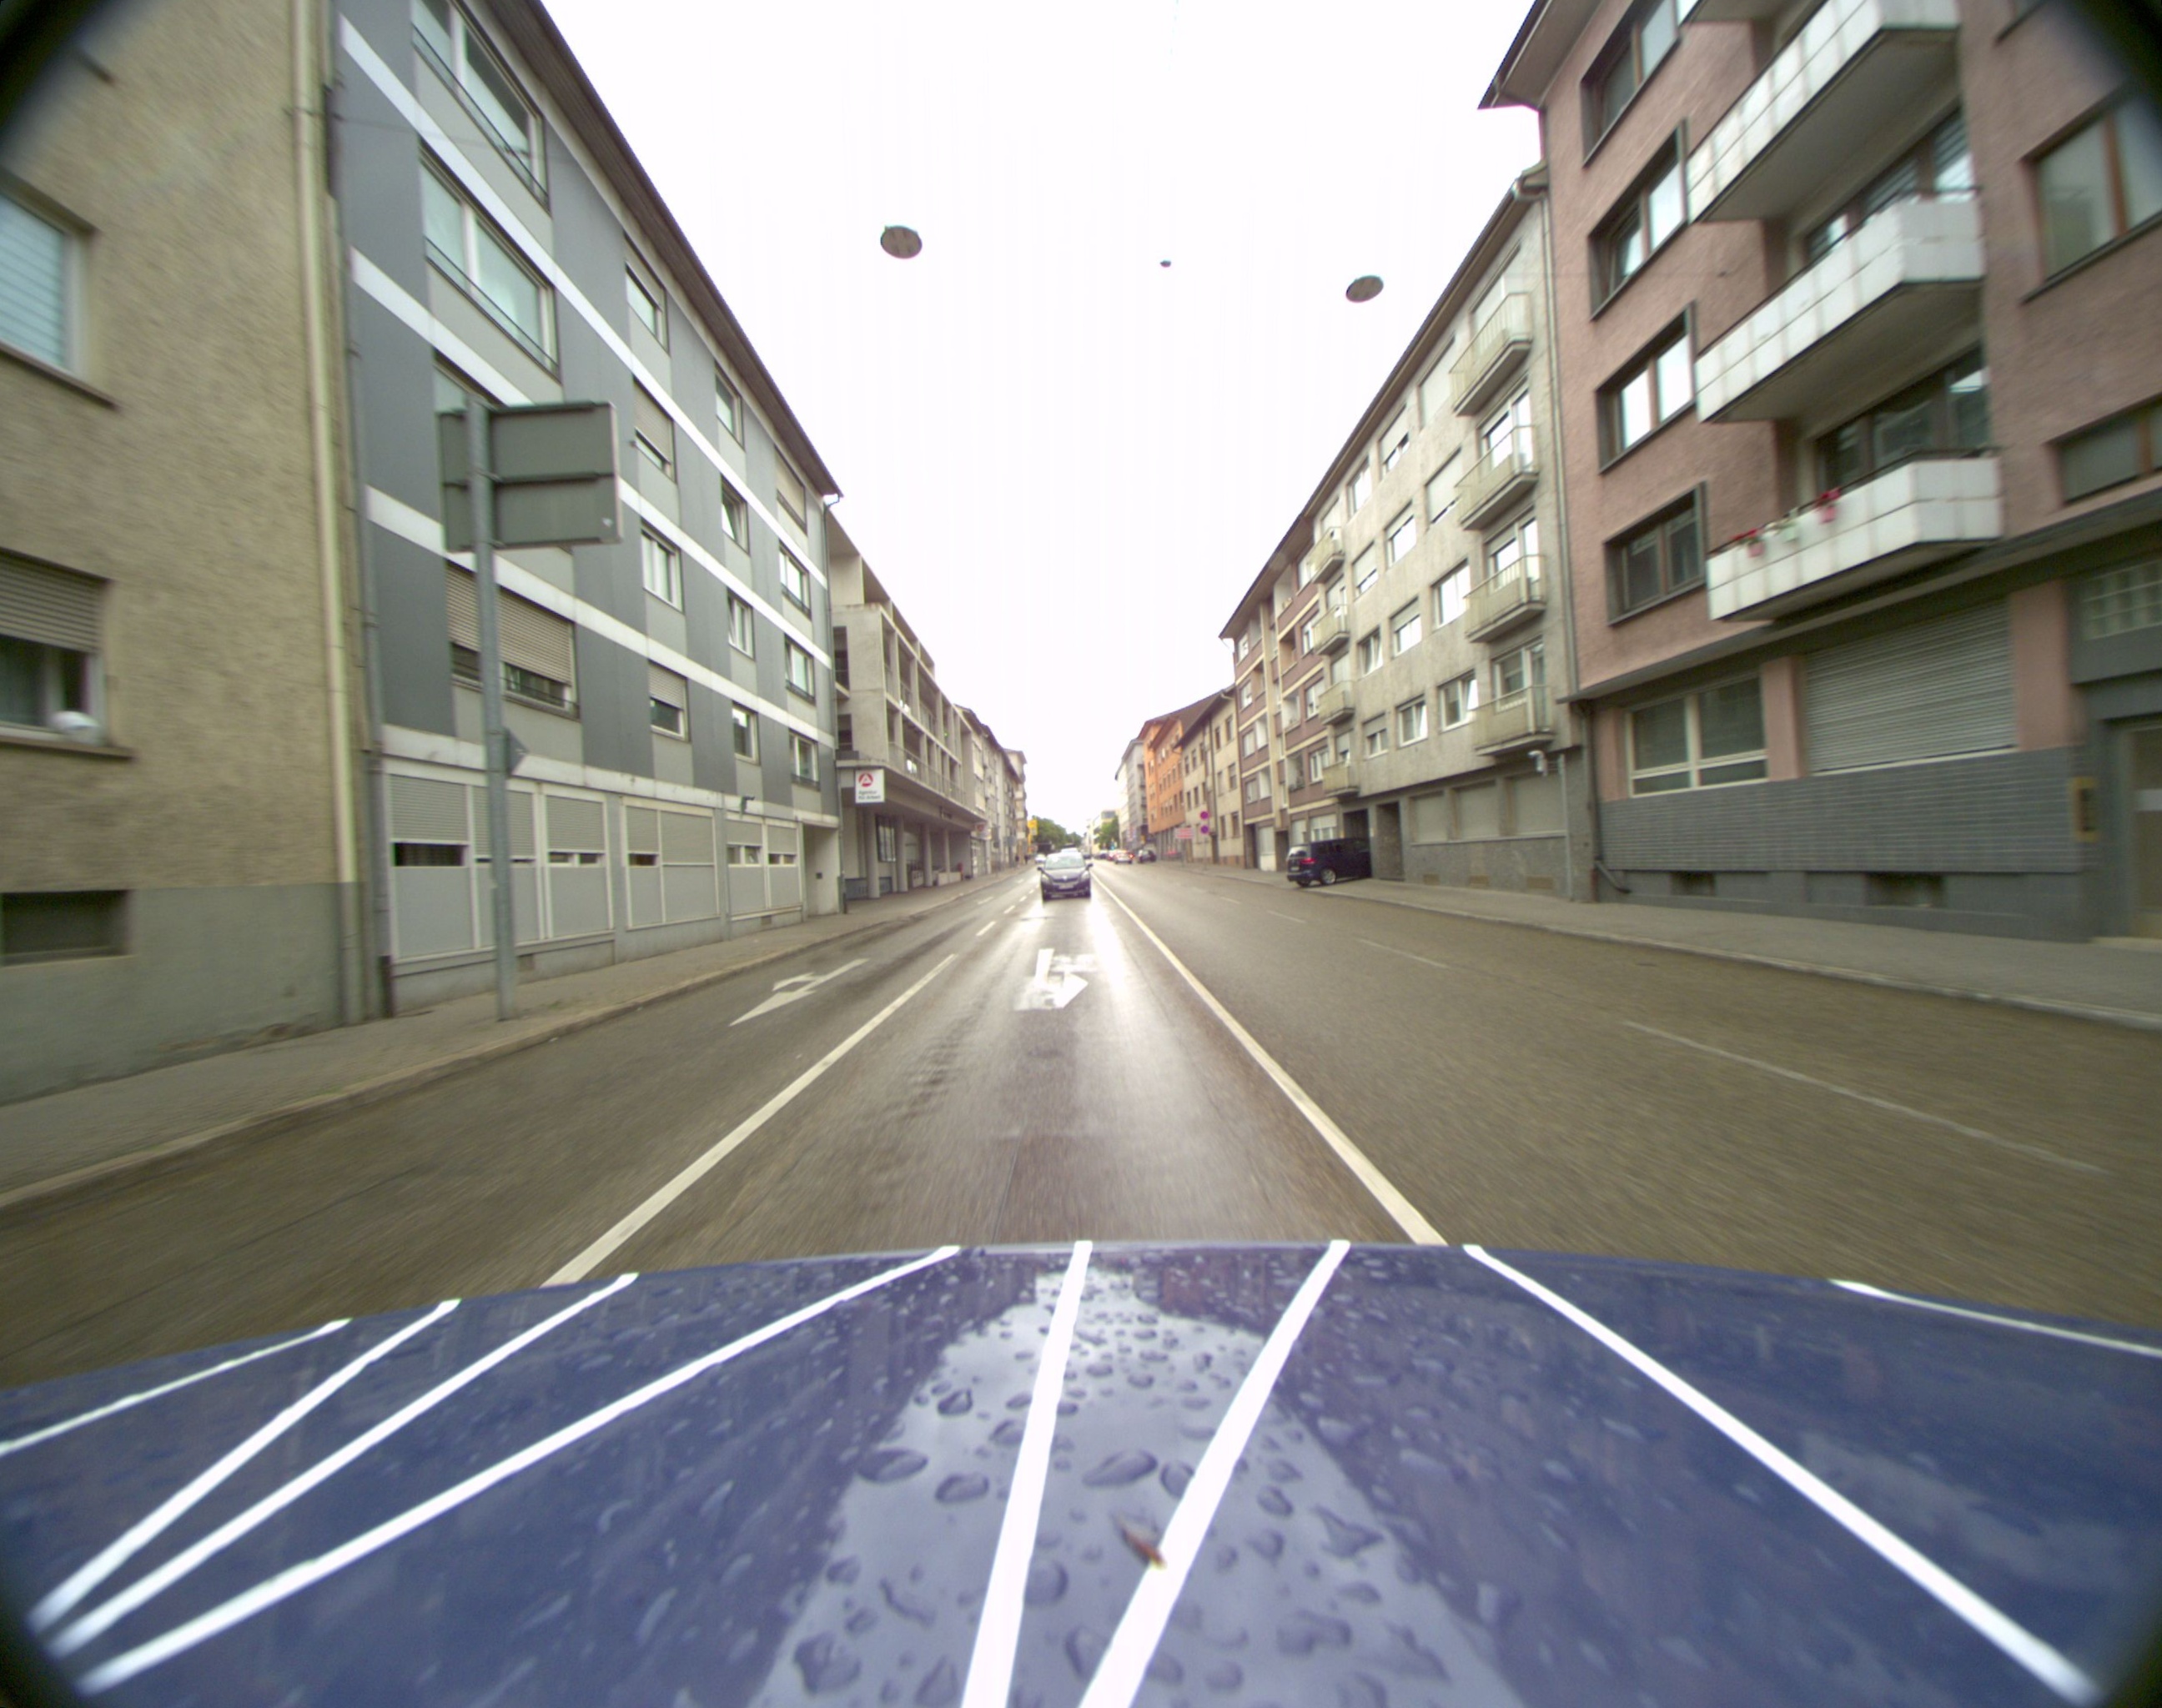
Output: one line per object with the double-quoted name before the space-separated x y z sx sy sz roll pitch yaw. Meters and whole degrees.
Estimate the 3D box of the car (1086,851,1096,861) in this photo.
"car" 1.888 0.346 139.640 1.722 1.652 3.678 -4 1 1

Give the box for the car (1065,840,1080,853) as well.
"car" -1.214 -1.073 105.345 1.851 1.652 3.678 -4 1 1

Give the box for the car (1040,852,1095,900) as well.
"car" -0.506 0.787 28.146 1.732 1.472 4.072 -6 0 -1

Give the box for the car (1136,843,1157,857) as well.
"car" 7.271 -0.441 84.454 1.708 1.447 3.803 -5 1 -3

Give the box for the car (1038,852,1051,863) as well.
"car" -6.120 0.609 127.172 1.722 1.652 3.678 -4 1 1

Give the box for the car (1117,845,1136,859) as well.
"car" 5.027 -0.242 84.156 1.732 1.452 4.071 -1 1 -1

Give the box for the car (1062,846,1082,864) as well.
"car" -0.855 0.096 76.092 1.722 1.652 3.678 -4 1 1

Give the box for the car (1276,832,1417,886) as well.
"car" 9.545 0.156 27.440 4.308 1.566 1.998 -4 1 -9

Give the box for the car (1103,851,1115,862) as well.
"car" 4.400 0.373 119.764 1.722 1.652 3.678 -4 1 1

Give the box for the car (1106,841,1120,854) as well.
"car" 4.406 -0.883 105.612 1.722 1.652 3.678 -4 1 1
